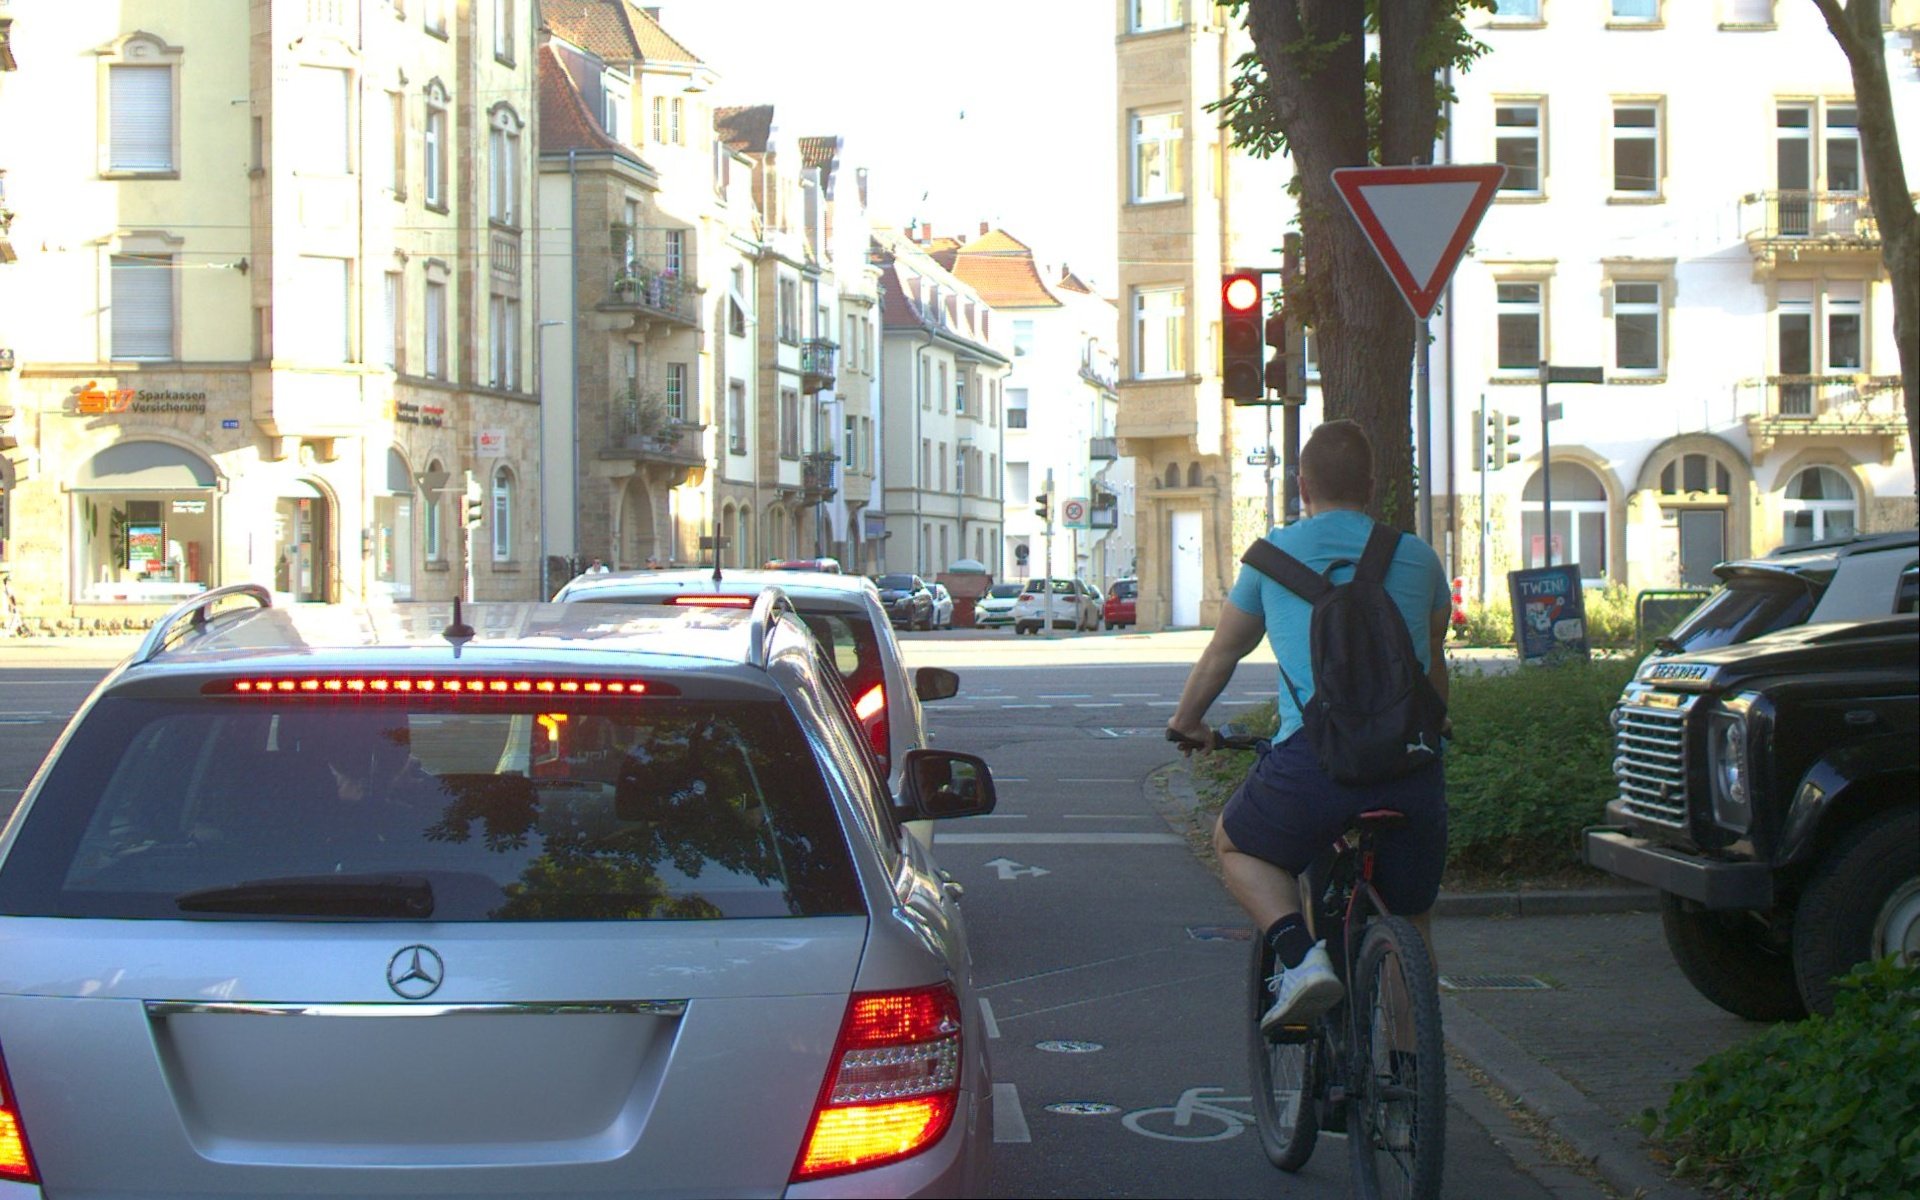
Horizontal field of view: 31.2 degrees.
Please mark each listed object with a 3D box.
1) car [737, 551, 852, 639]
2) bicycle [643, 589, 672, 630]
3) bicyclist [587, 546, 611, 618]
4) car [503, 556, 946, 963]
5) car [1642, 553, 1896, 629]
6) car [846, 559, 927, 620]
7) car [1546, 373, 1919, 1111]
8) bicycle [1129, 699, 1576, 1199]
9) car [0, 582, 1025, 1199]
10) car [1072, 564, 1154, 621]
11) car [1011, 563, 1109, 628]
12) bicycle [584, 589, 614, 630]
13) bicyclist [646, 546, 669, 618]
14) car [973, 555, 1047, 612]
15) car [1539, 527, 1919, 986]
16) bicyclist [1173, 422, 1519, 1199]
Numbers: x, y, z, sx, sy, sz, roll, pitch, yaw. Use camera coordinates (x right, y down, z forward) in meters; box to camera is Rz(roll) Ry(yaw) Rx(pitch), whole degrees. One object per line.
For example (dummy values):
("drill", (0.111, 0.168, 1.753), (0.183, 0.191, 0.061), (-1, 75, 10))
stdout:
("car", (-3.807, -0.138, 79.779), (1.938, 1.952, 4.149), (0, 1, 8))
("bicycle", (-6.443, 0.194, 73.234), (0.568, 0.832, 1.566), (0, 1, -4))
("bicyclist", (-7.698, -0.387, 73.338), (0.466, 1.509, 0.655), (0, 1, -4))
("car", (-0.885, 0.535, 13.764), (1.533, 1.386, 3.600), (0, 1, -2))
("car", (11.798, -0.140, 50.220), (3.364, 1.065, 1.380), (0, 1, -1))
("car", (-2.170, -0.303, 102.432), (1.651, 1.777, 3.861), (0, 0, 11))
("car", (4.190, 0.290, 10.181), (4.490, 1.949, 1.793), (-2, 1, -3))
("bicycle", (0.822, 0.834, 7.777), (0.742, 1.114, 2.013), (1, 1, -1))
("car", (-0.861, 0.709, 6.485), (1.690, 1.424, 3.493), (1, 1, -3))
("car", (4.567, -0.231, 102.074), (1.722, 1.473, 3.998), (-4, 1, 12))
("car", (2.527, -0.131, 85.883), (1.722, 1.473, 3.998), (-2, 1, 12))
("bicycle", (-7.705, 0.203, 73.365), (0.568, 0.832, 1.566), (0, 1, -4))
("bicyclist", (-6.453, -0.383, 73.320), (0.466, 1.516, 0.694), (0, 1, -4))
("car", (1.587, -0.536, 107.282), (1.687, 1.716, 3.998), (0, 1, 10))
("car", (4.154, 0.503, 13.062), (3.480, 1.580, 1.711), (-2, 1, -6))
("bicyclist", (0.842, 0.509, 7.681), (0.646, 1.769, 0.831), (1, 0, -1))
